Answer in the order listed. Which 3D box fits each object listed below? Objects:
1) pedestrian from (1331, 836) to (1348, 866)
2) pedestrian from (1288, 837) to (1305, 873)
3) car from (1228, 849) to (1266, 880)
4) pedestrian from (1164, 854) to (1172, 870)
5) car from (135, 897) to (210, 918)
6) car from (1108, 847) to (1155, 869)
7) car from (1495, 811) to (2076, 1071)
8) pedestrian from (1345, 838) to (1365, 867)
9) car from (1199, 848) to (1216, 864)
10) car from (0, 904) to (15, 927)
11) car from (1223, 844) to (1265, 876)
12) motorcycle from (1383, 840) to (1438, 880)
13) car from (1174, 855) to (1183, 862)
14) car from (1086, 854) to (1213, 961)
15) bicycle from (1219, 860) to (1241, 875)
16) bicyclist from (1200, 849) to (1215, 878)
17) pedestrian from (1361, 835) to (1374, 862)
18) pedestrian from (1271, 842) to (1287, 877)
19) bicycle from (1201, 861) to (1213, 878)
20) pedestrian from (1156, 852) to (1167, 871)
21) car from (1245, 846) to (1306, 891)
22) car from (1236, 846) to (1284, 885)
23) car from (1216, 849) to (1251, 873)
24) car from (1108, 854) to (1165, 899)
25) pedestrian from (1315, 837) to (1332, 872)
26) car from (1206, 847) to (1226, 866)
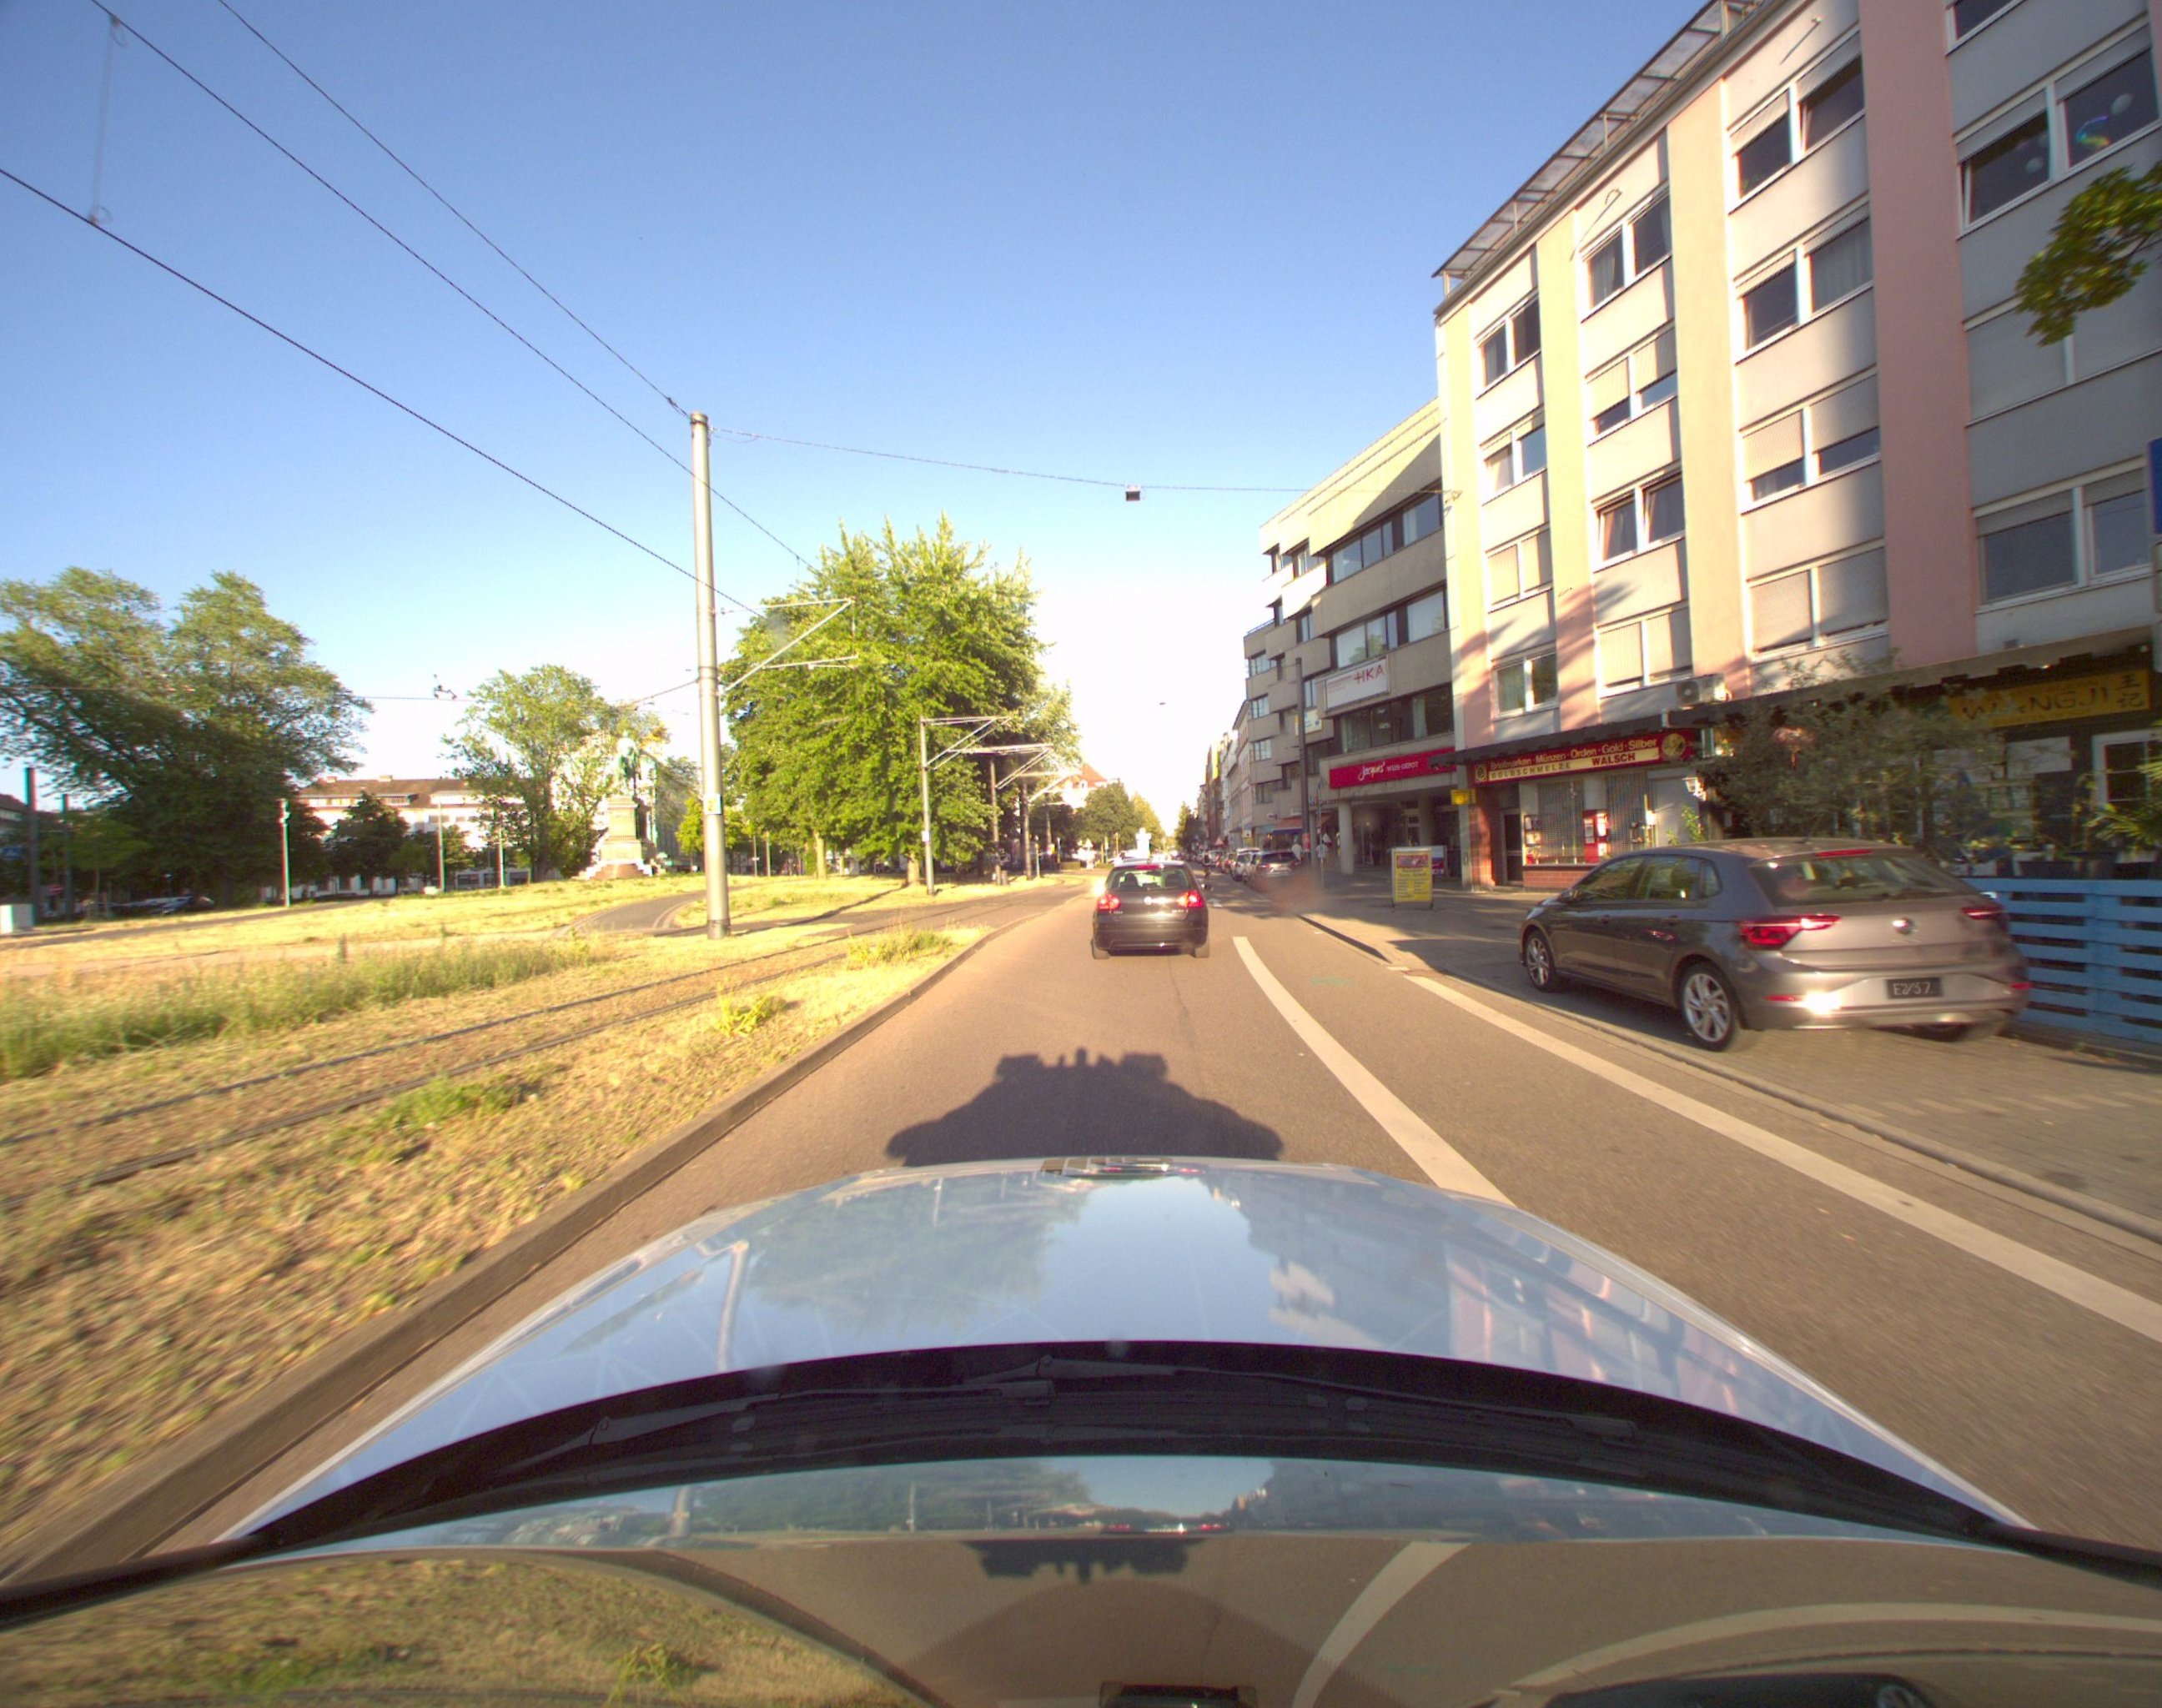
[{"bbox_3d":[15.423,-0.161,48.571,0.693,1.727,1.035,-3,-1,7],"label":"pedestrian"},{"bbox_3d":[11.283,0.049,42.589,0.619,1.858,0.663,-5,-1,7],"label":"pedestrian"},{"bbox_3d":[8.741,0.524,43.164,1.653,1.441,3.864,-5,-1,8],"label":"car"},{"bbox_3d":[8.795,0.809,82.483,0.733,1.555,0.632,-2,-1,3],"label":"pedestrian"},{"bbox_3d":[-69.355,4.055,62.258,1.541,1.354,3.529,-1,0,8],"label":"car"},{"bbox_3d":[6.381,0.496,103.330,5.530,2.595,2.140,-2,-1,-20],"label":"car"},{"bbox_3d":[5.285,0.547,6.942,1.720,1.472,3.905,-5,-1,5],"label":"car"},{"bbox_3d":[16.312,-0.069,48.493,0.983,1.673,0.643,-3,-1,7],"label":"pedestrian"},{"bbox_3d":[15.951,0.284,102.554,1.915,1.841,4.026,-4,-1,7],"label":"car"},{"bbox_3d":[-68.093,3.883,50.477,1.562,1.354,3.482,-1,0,-37],"label":"car"},{"bbox_3d":[9.734,0.350,48.918,1.859,1.713,4.511,-5,-1,4],"label":"car"},{"bbox_3d":[12.210,0.211,30.197,1.780,1.331,0.582,-4,-1,-6],"label":"motorcycle"},{"bbox_3d":[22.473,0.952,187.487,1.897,1.552,4.007,-2,0,6],"label":"car"},{"bbox_3d":[1.193,0.762,13.534,1.738,1.461,4.110,-2,0,6],"label":"car"},{"bbox_3d":[12.604,1.120,68.942,1.586,1.119,0.616,-5,0,39],"label":"bicycle"},{"bbox_3d":[7.237,0.523,46.791,0.773,1.618,1.027,-1,-1,6],"label":"bicyclist"},{"bbox_3d":[18.824,-0.359,53.539,0.598,1.760,0.518,-1,-1,-17],"label":"pedestrian"},{"bbox_3d":[10.436,0.289,42.909,0.575,1.760,0.663,-5,-1,7],"label":"pedestrian"},{"bbox_3d":[7.228,0.883,46.778,0.576,0.987,1.939,-1,-1,6],"label":"bicycle"},{"bbox_3d":[7.464,0.719,75.650,0.857,1.706,0.941,-1,-1,0],"label":"pedestrian"},{"bbox_3d":[7.647,0.542,32.404,1.772,1.556,4.243,-5,-1,7],"label":"car"},{"bbox_3d":[8.141,0.510,37.293,1.599,1.556,3.615,-5,-1,5],"label":"car"},{"bbox_3d":[10.563,0.471,56.548,1.656,1.441,3.823,-5,-1,1],"label":"car"},{"bbox_3d":[2.020,0.755,29.316,1.856,1.441,4.202,-2,0,4],"label":"car"},{"bbox_3d":[12.687,0.027,42.636,0.619,1.740,0.663,-5,-1,7],"label":"pedestrian"},{"bbox_3d":[13.995,0.274,84.780,1.726,1.800,3.923,-4,-1,6],"label":"car"}]
